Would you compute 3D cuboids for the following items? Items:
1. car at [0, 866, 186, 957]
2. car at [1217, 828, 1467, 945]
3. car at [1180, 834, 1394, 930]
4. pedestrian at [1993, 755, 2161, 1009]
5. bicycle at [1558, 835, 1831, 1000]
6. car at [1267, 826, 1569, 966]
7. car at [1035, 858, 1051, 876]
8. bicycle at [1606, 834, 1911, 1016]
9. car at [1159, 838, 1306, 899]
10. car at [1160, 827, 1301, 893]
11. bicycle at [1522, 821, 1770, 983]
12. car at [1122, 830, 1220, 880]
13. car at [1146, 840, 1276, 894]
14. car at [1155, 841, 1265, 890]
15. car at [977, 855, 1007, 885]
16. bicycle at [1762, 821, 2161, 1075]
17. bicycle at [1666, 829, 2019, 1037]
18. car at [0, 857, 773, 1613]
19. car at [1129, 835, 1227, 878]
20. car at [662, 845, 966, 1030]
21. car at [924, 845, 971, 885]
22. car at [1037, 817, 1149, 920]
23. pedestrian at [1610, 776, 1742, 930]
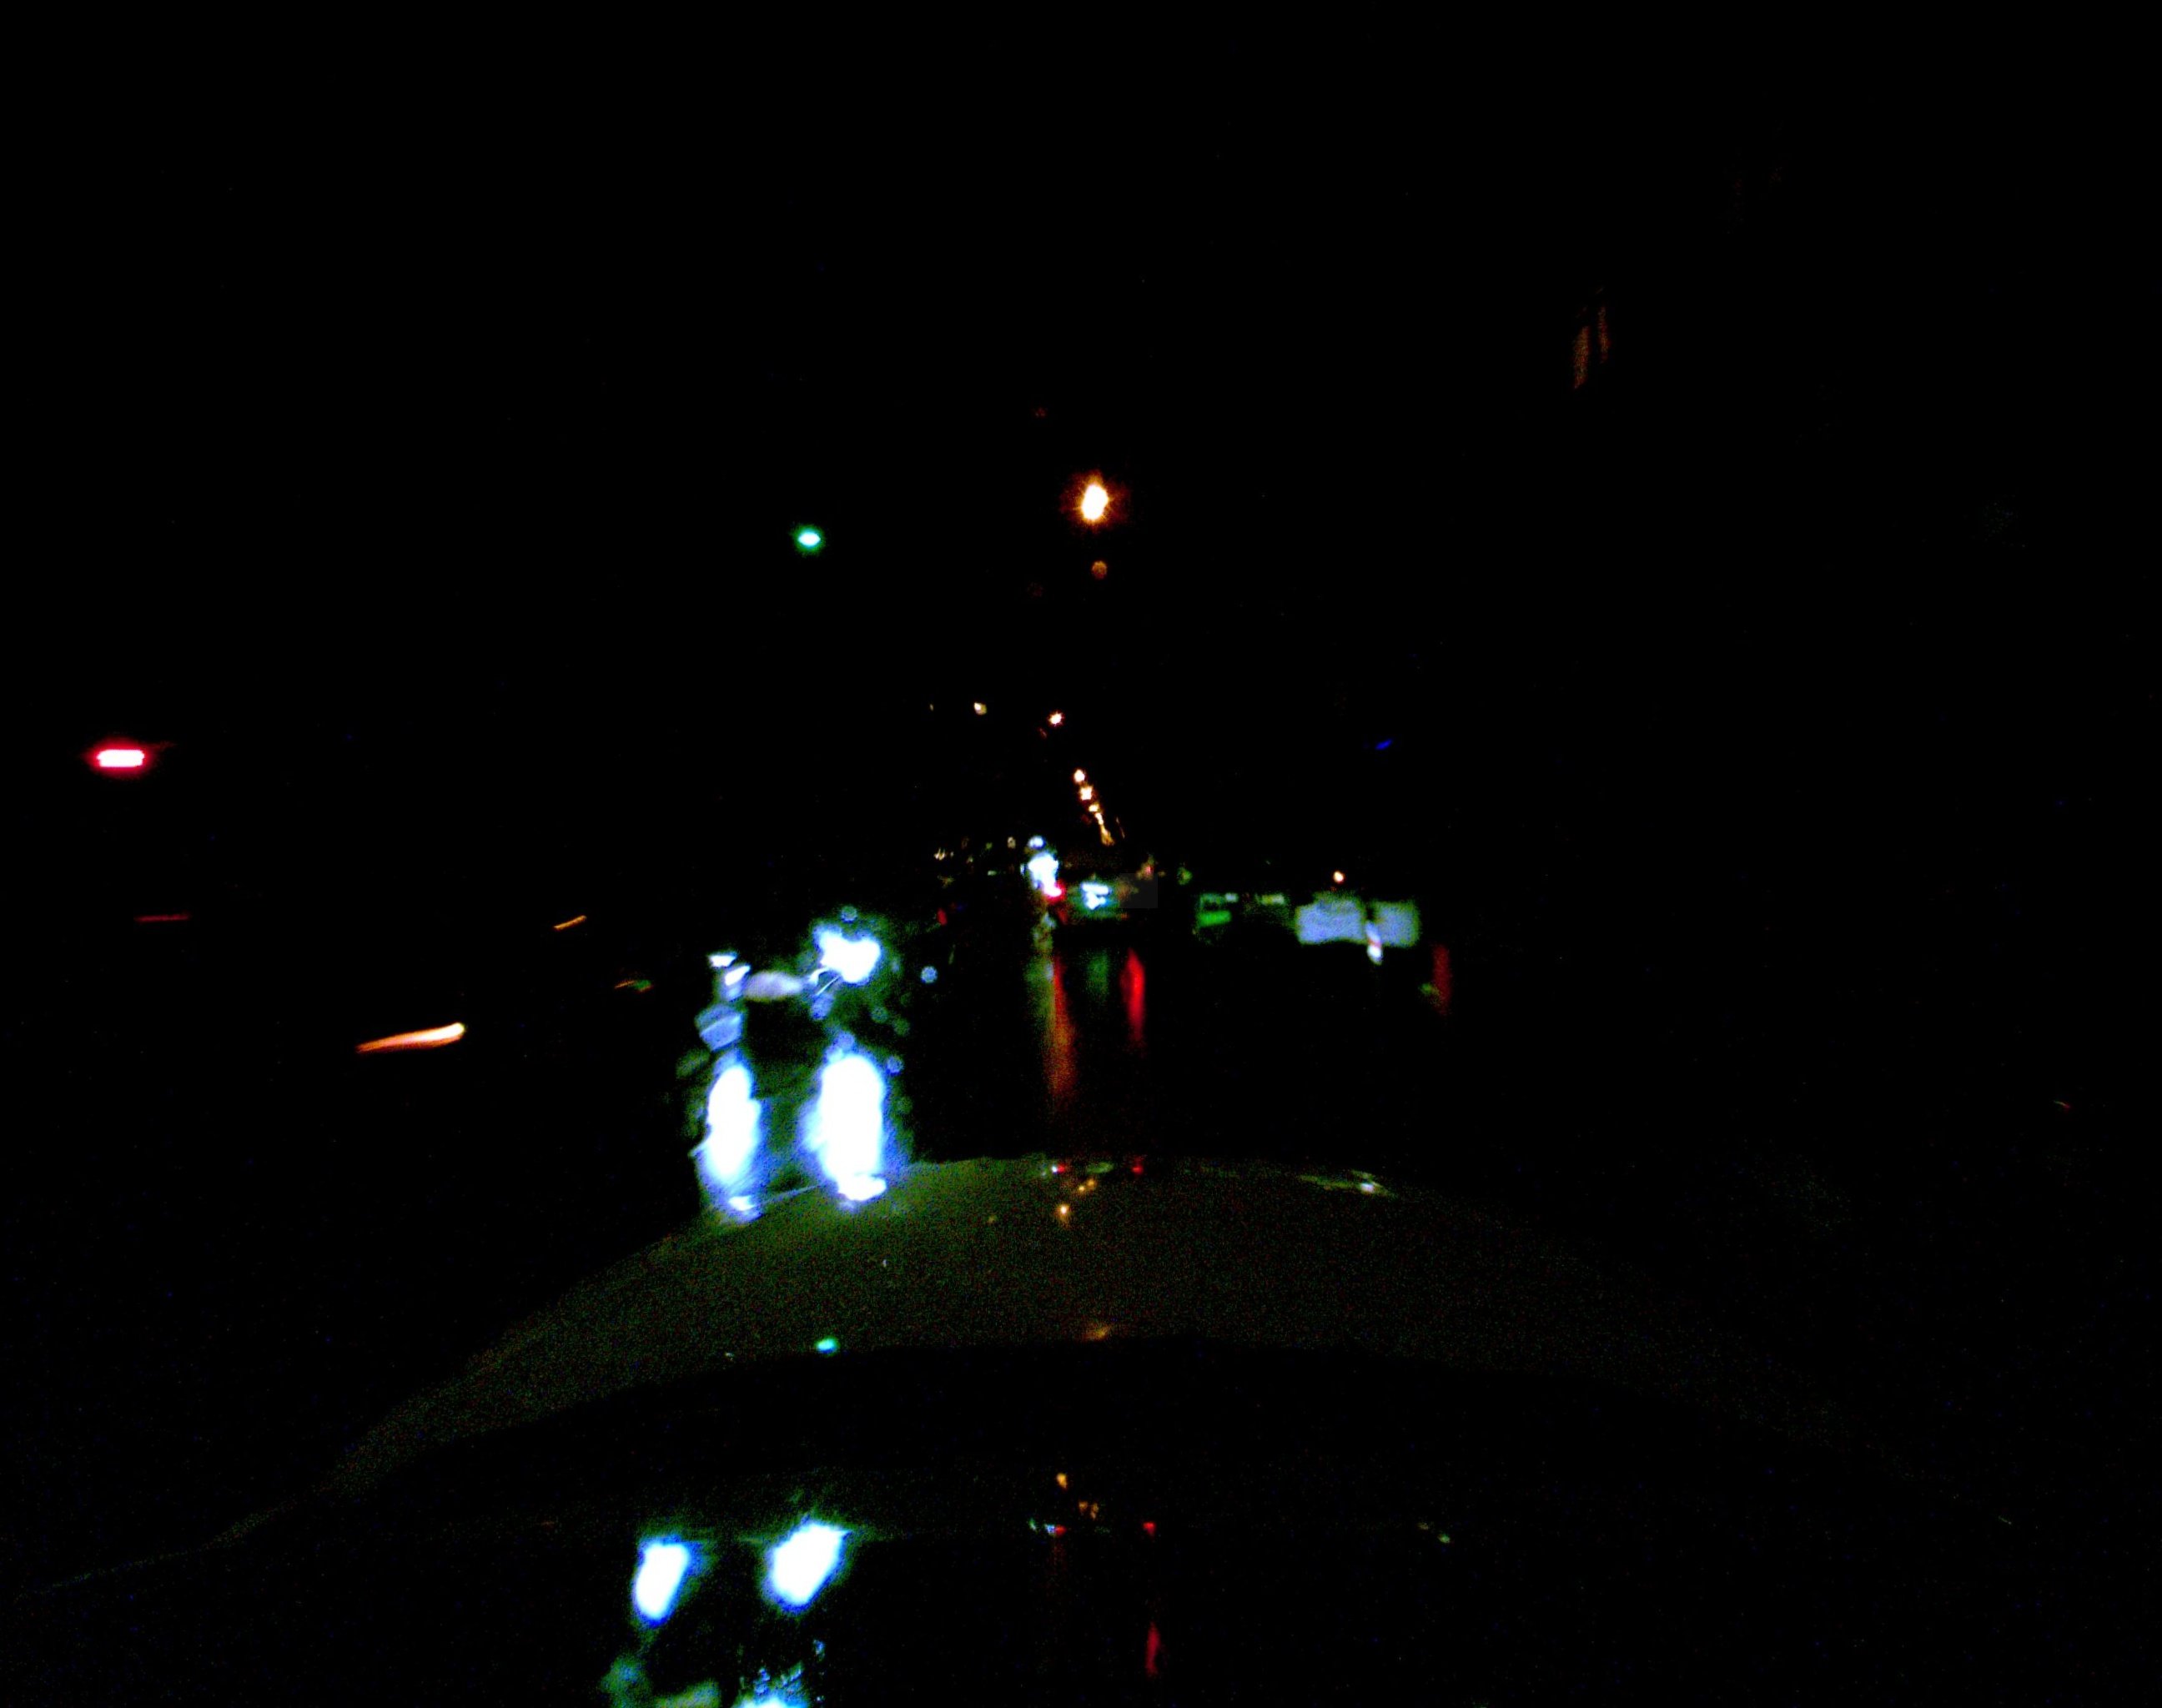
[{"bbox_3d":[-22.144,1.205,17.045,1.681,1.700,4.219,-1,2,27],"label":"car"},{"bbox_3d":[4.493,0.457,13.792,4.204,1.576,1.861,-3,0,-36],"label":"car"},{"bbox_3d":[4.232,0.497,16.538,4.200,1.590,1.713,-3,0,-32],"label":"car"},{"bbox_3d":[7.301,0.168,5.655,0.778,1.618,1.000,-2,0,3],"label":"pedestrian"},{"bbox_3d":[5.279,0.526,7.064,1.892,1.251,0.595,-3,-1,-3],"label":"bicycle"},{"bbox_3d":[4.689,0.449,11.116,4.204,1.457,1.837,-3,0,-36],"label":"car"},{"bbox_3d":[-4.375,1.466,93.589,1.720,1.972,4.218,-1,0,-1],"label":"car"},{"bbox_3d":[5.300,0.531,6.430,1.892,1.251,0.595,-3,-1,-3],"label":"bicycle"},{"bbox_3d":[4.780,0.430,25.751,4.185,1.645,1.759,-3,0,-19],"label":"car"},{"bbox_3d":[4.379,0.137,23.537,4.207,1.645,1.642,-3,0,-40],"label":"car"},{"bbox_3d":[5.314,0.433,7.718,1.892,1.360,0.595,-3,-1,-3],"label":"bicycle"},{"bbox_3d":[4.877,0.015,43.789,5.033,2.391,2.116,-3,0,-36],"label":"car"},{"bbox_3d":[4.632,0.449,29.062,4.185,1.645,1.759,-3,0,-19],"label":"car"},{"bbox_3d":[5.116,0.434,32.066,4.205,1.645,1.750,-3,0,-36],"label":"car"},{"bbox_3d":[-6.354,1.122,57.707,1.726,1.972,3.711,-1,0,-12],"label":"car"},{"bbox_3d":[5.215,0.495,4.734,1.892,1.251,0.710,-3,-1,-3],"label":"bicycle"},{"bbox_3d":[5.249,0.517,5.673,1.892,1.251,0.595,-3,-1,-3],"label":"bicycle"},{"bbox_3d":[-2.837,0.746,3.074,1.662,1.421,4.098,-1,0,1],"label":"car"},{"bbox_3d":[4.314,0.098,35.924,4.205,1.645,1.750,-3,0,-36],"label":"car"},{"bbox_3d":[-2.659,0.739,9.474,1.781,1.554,4.856,-1,0,1],"label":"car"},{"bbox_3d":[-7.066,0.566,42.755,1.995,1.972,4.279,-1,0,-15],"label":"car"},{"bbox_3d":[0.314,0.293,18.284,2.160,1.972,4.304,-2,0,2],"label":"car"},{"bbox_3d":[7.697,-0.014,10.597,0.953,1.882,1.000,-2,0,2],"label":"pedestrian"}]
